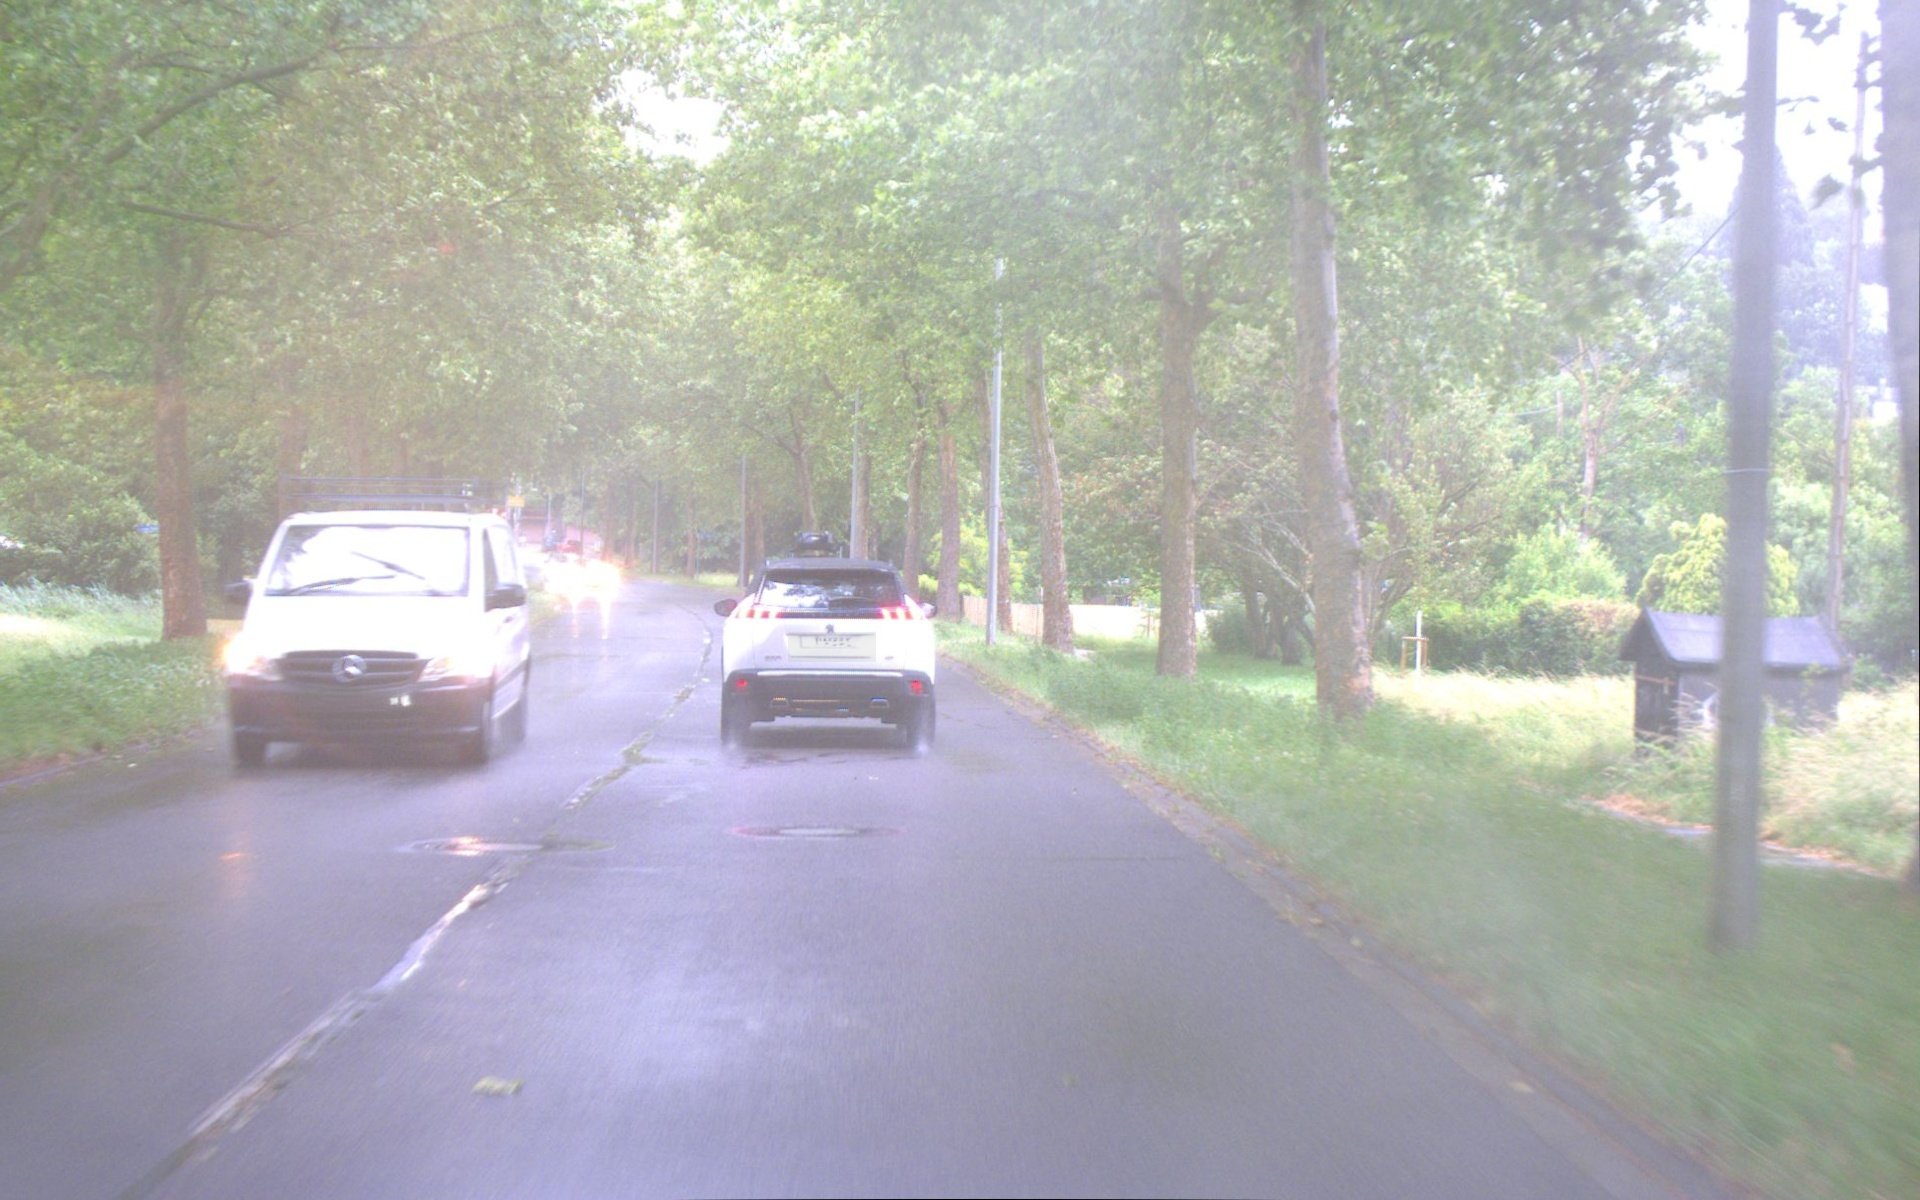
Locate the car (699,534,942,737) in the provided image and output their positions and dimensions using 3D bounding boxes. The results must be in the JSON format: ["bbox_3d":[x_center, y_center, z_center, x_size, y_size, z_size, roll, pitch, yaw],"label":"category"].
[{"bbox_3d":[-1.127,0.247,29.438,1.794,1.573,3.844,2,1,1],"label":"car"}]

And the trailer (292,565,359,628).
[{"bbox_3d":[-27.094,-0.160,146.911,2.484,2.558,5.334,2,1,-8],"label":"trailer"}]

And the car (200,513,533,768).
[{"bbox_3d":[-4.477,0.250,26.650,1.862,1.744,5.016,2,1,-2],"label":"car"}]
